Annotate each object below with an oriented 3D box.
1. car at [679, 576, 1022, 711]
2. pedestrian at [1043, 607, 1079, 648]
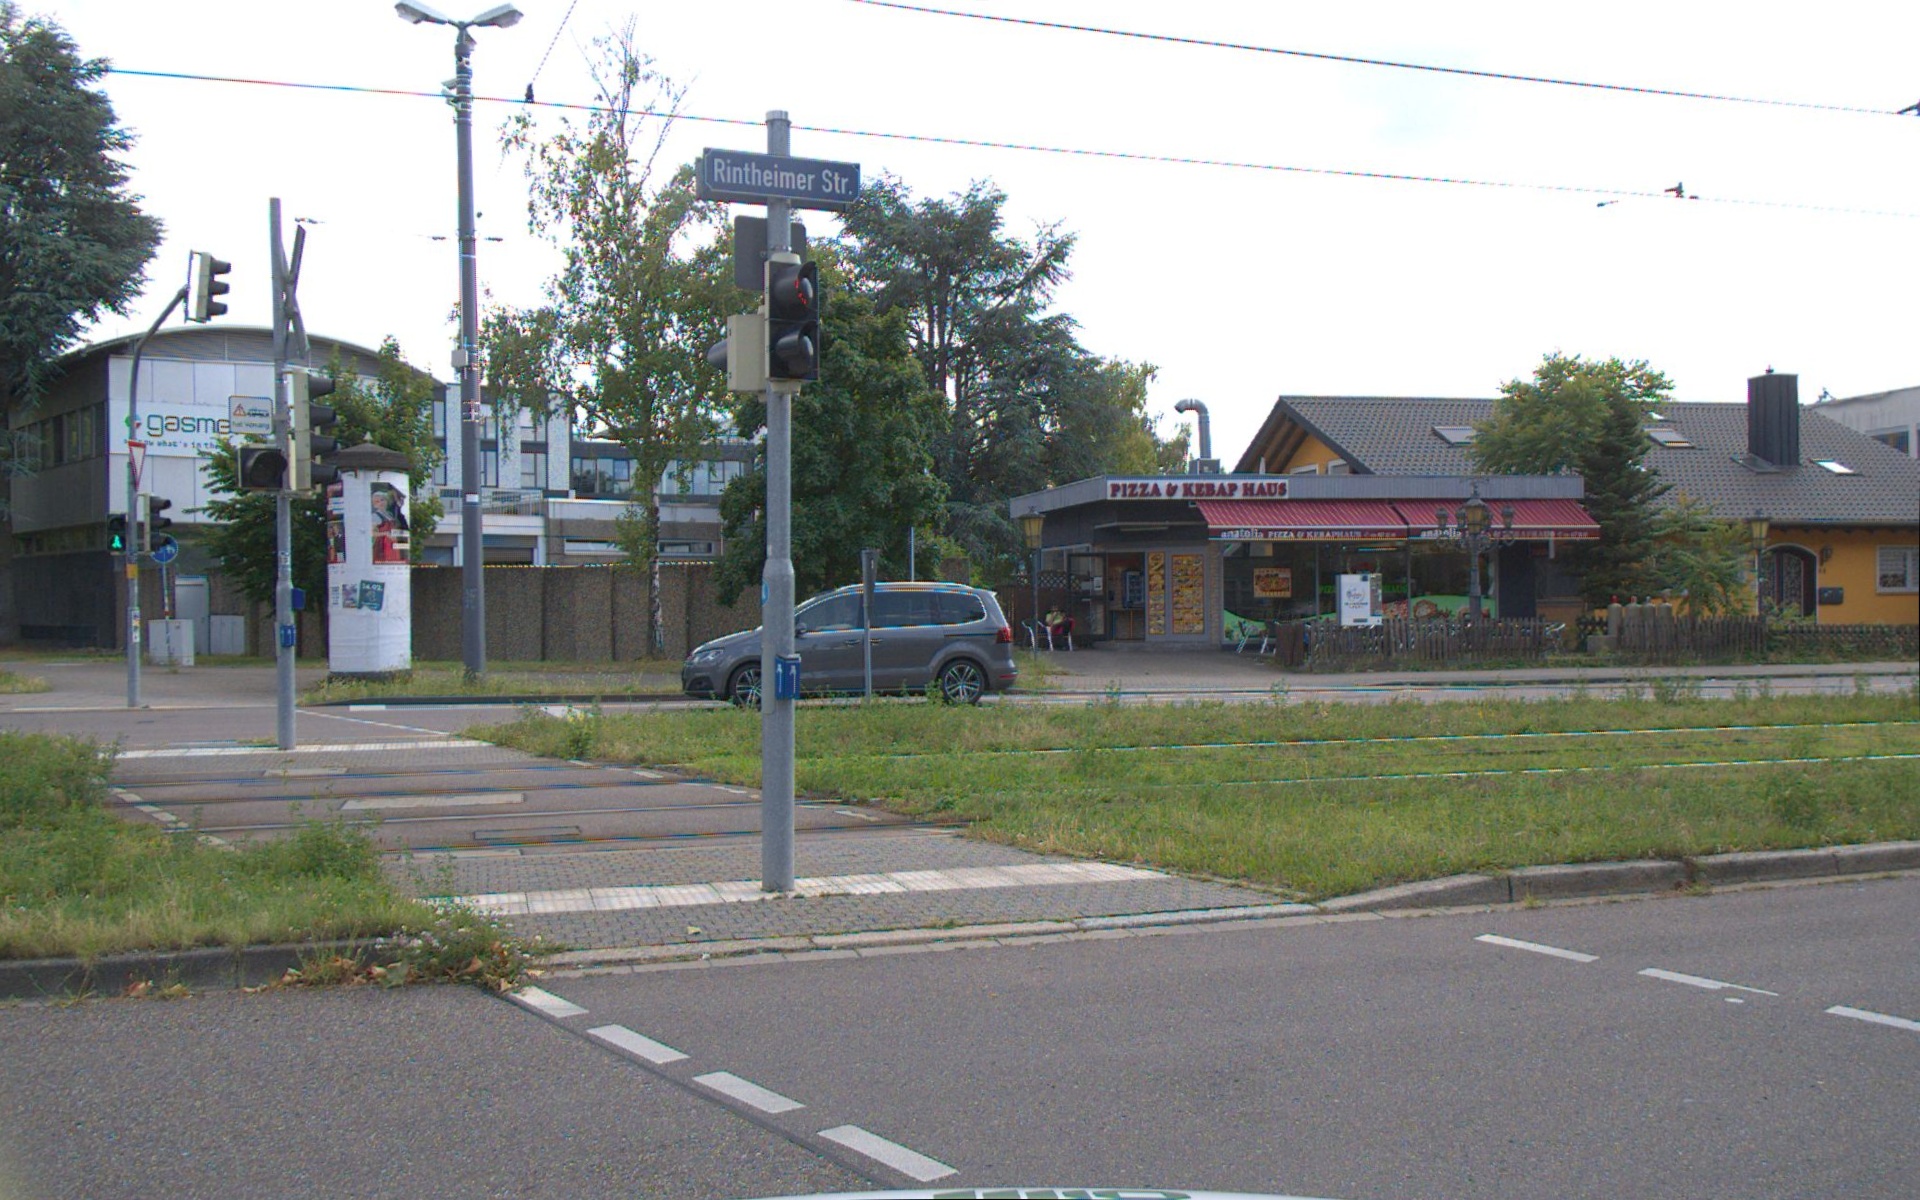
[{"bbox_3d":[-1.603,0.568,23.442,4.641,1.752,1.994,-1,0,-11],"label":"car"},{"bbox_3d":[2.395,0.651,39.330,0.711,0.945,0.776,0,2,-7],"label":"pedestrian"}]
